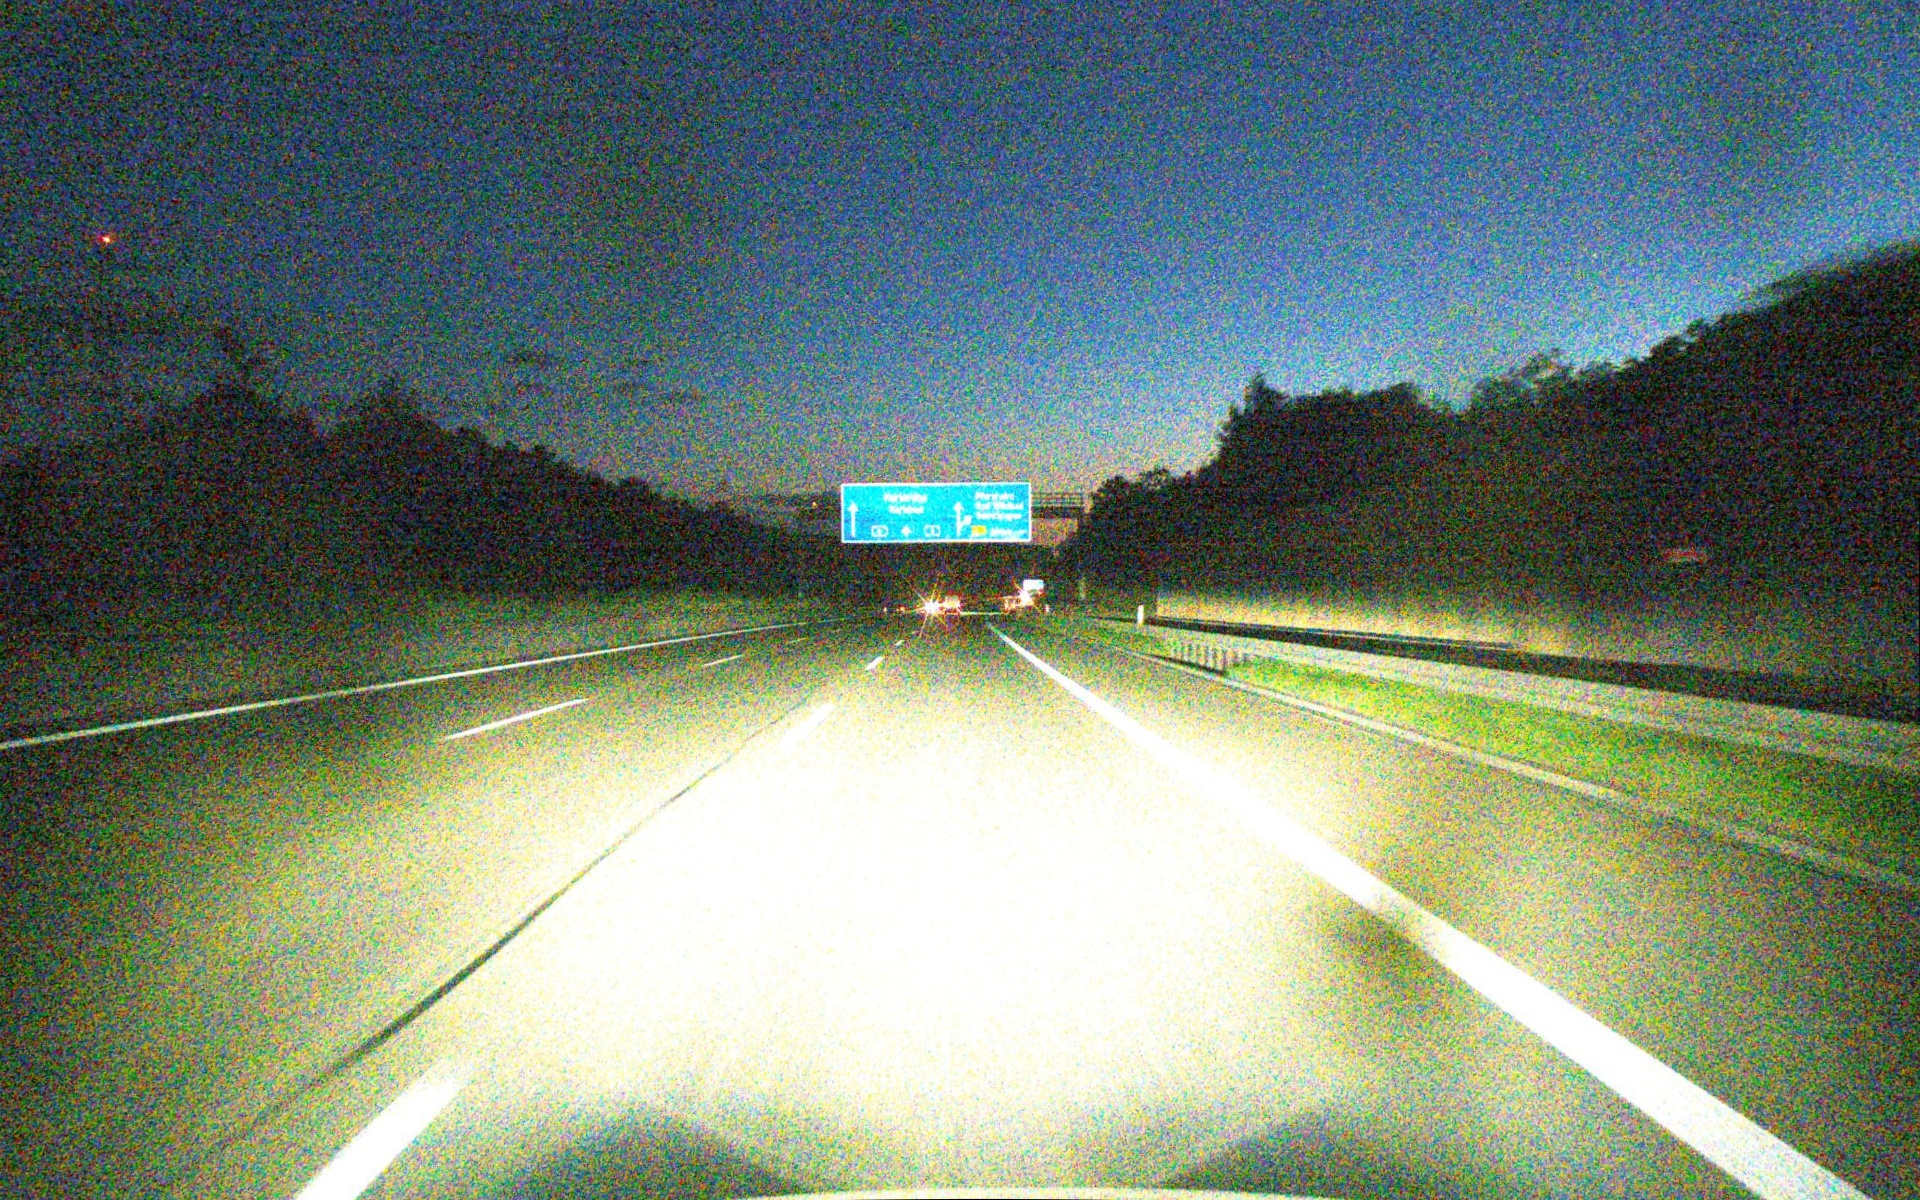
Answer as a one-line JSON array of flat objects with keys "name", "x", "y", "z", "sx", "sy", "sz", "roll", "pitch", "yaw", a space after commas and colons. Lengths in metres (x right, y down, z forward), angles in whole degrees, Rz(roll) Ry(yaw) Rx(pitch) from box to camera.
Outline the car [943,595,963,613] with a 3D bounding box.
[{"name": "car", "x": -0.903, "y": 0.577, "z": 226.763, "sx": 2.458, "sy": 2.354, "sz": 4.972, "roll": 0, "pitch": -1, "yaw": 3}]
